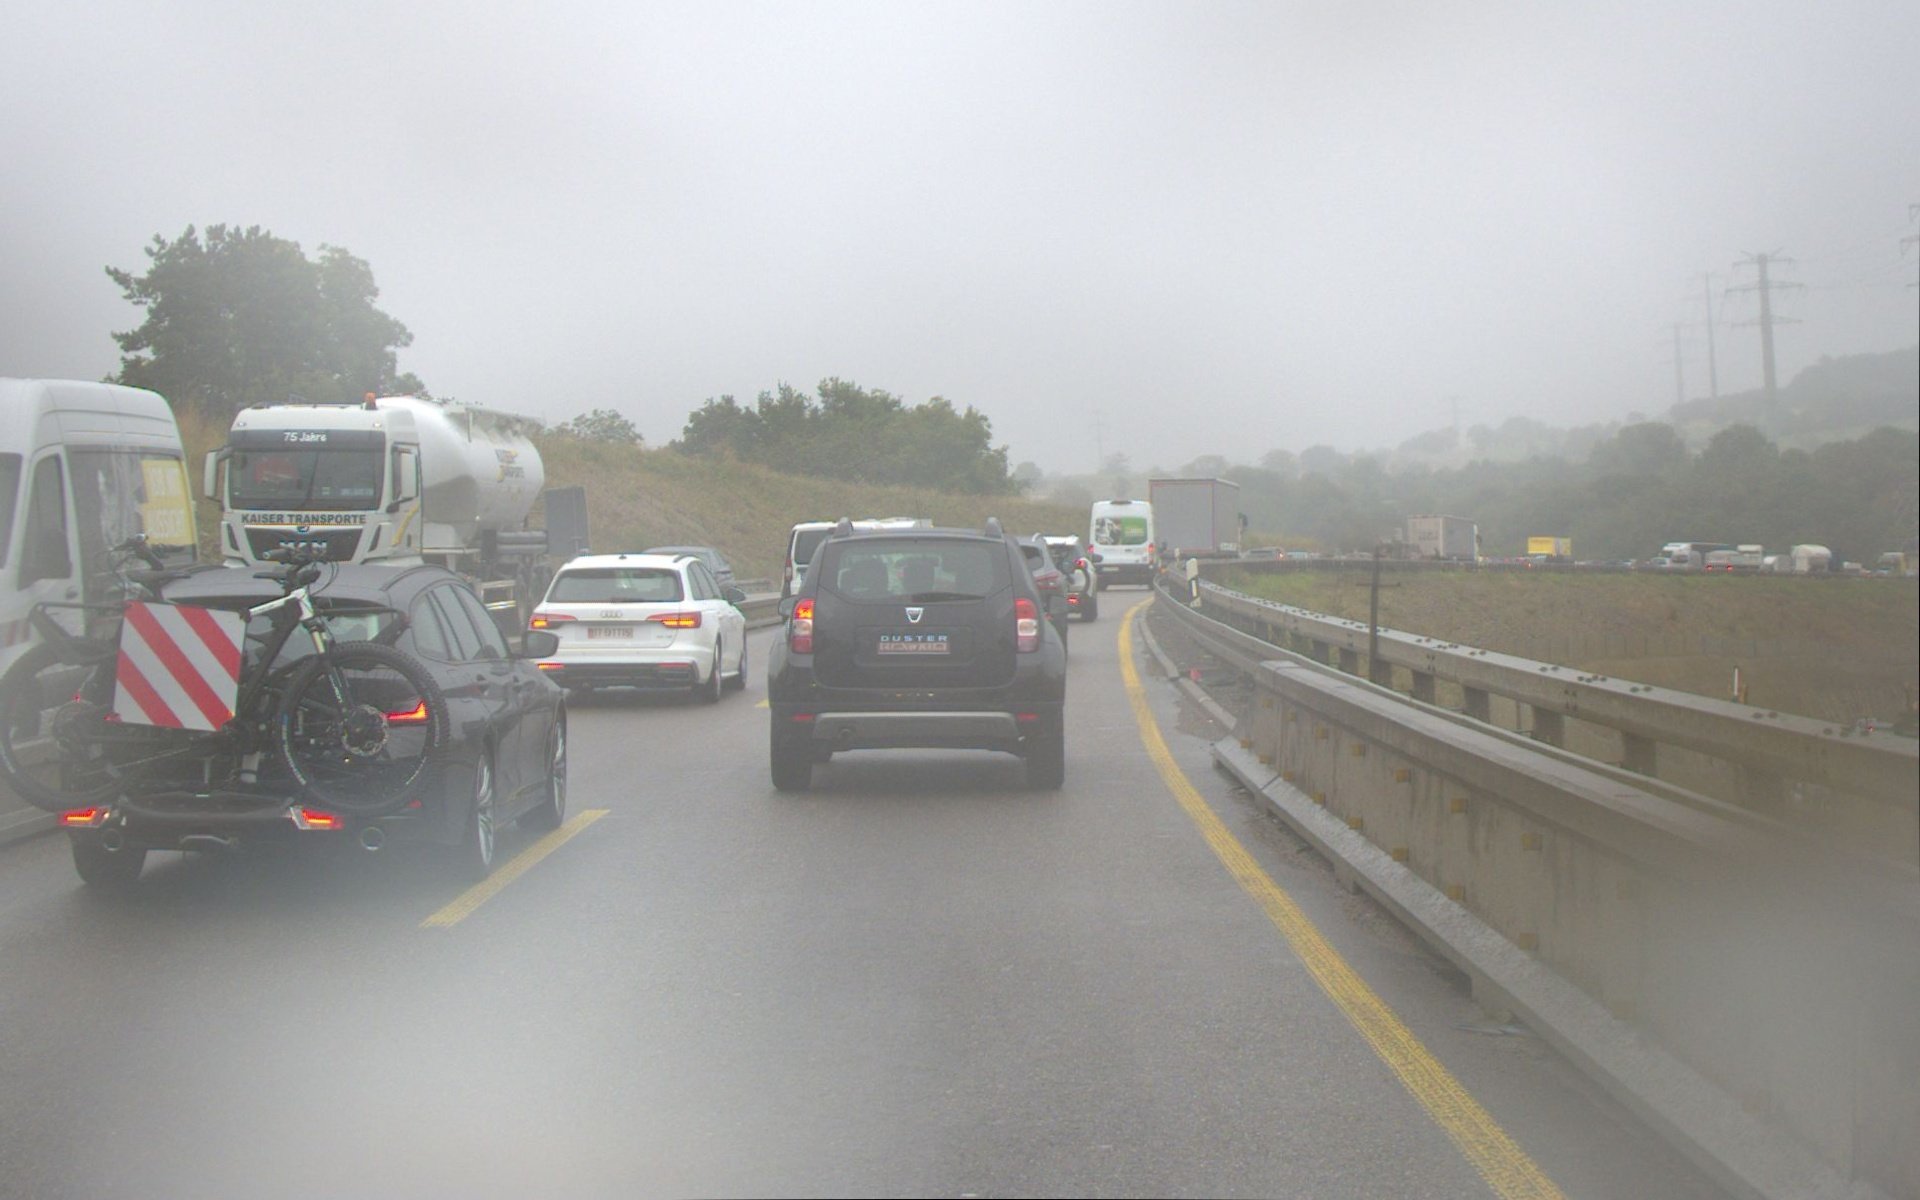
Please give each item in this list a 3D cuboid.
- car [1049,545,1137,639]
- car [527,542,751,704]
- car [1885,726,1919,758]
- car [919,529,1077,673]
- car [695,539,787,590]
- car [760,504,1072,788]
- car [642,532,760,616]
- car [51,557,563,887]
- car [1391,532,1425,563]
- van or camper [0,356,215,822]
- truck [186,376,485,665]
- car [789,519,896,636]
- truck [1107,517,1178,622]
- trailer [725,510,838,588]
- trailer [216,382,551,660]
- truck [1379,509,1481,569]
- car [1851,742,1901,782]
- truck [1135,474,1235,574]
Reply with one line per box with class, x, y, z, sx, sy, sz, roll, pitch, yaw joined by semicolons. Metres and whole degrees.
car;2.428;-0.173;62.492;1.530;1.635;4.012;1;1;2
car;-3.053;0.173;33.501;1.867;1.455;4.549;1;1;-2
car;58.918;8.858;214.646;1.994;1.809;3.998;0;0;11
car;0.442;-0.017;42.816;1.867;1.703;4.000;0;1;0
car;-7.060;-1.159;111.247;1.994;1.581;5.118;1;1;8
car;-0.217;0.249;21.945;1.804;1.640;3.776;0;1;1
car;-4.783;-0.492;64.033;1.803;1.434;4.951;-2;1;0
car;-3.158;0.532;17.363;1.829;1.471;3.776;0;1;1
car;27.616;-3.226;211.823;1.776;1.909;3.998;1;1;12
van or camper;-6.518;-0.113;21.949;2.278;2.605;5.829;1;1;0
truck;-9.025;-1.129;50.371;3.231;3.942;5.881;-1;1;0
car;-1.946;-0.393;57.727;1.660;1.873;4.020;1;1;0
truck;5.700;-0.980;107.954;2.149;3.155;6.459;1;1;2
trailer;-6.041;-1.756;117.308;2.511;2.556;7.161;1;1;8
trailer;-8.973;-1.202;55.189;3.255;3.950;11.537;-1;1;1
truck;33.476;-4.311;244.173;4.721;4.135;15.670;1;1;17
car;52.764;9.322;198.148;2.366;2.007;3.999;1;1;9
truck;8.860;-2.933;134.502;3.201;3.748;8.507;1;1;8
